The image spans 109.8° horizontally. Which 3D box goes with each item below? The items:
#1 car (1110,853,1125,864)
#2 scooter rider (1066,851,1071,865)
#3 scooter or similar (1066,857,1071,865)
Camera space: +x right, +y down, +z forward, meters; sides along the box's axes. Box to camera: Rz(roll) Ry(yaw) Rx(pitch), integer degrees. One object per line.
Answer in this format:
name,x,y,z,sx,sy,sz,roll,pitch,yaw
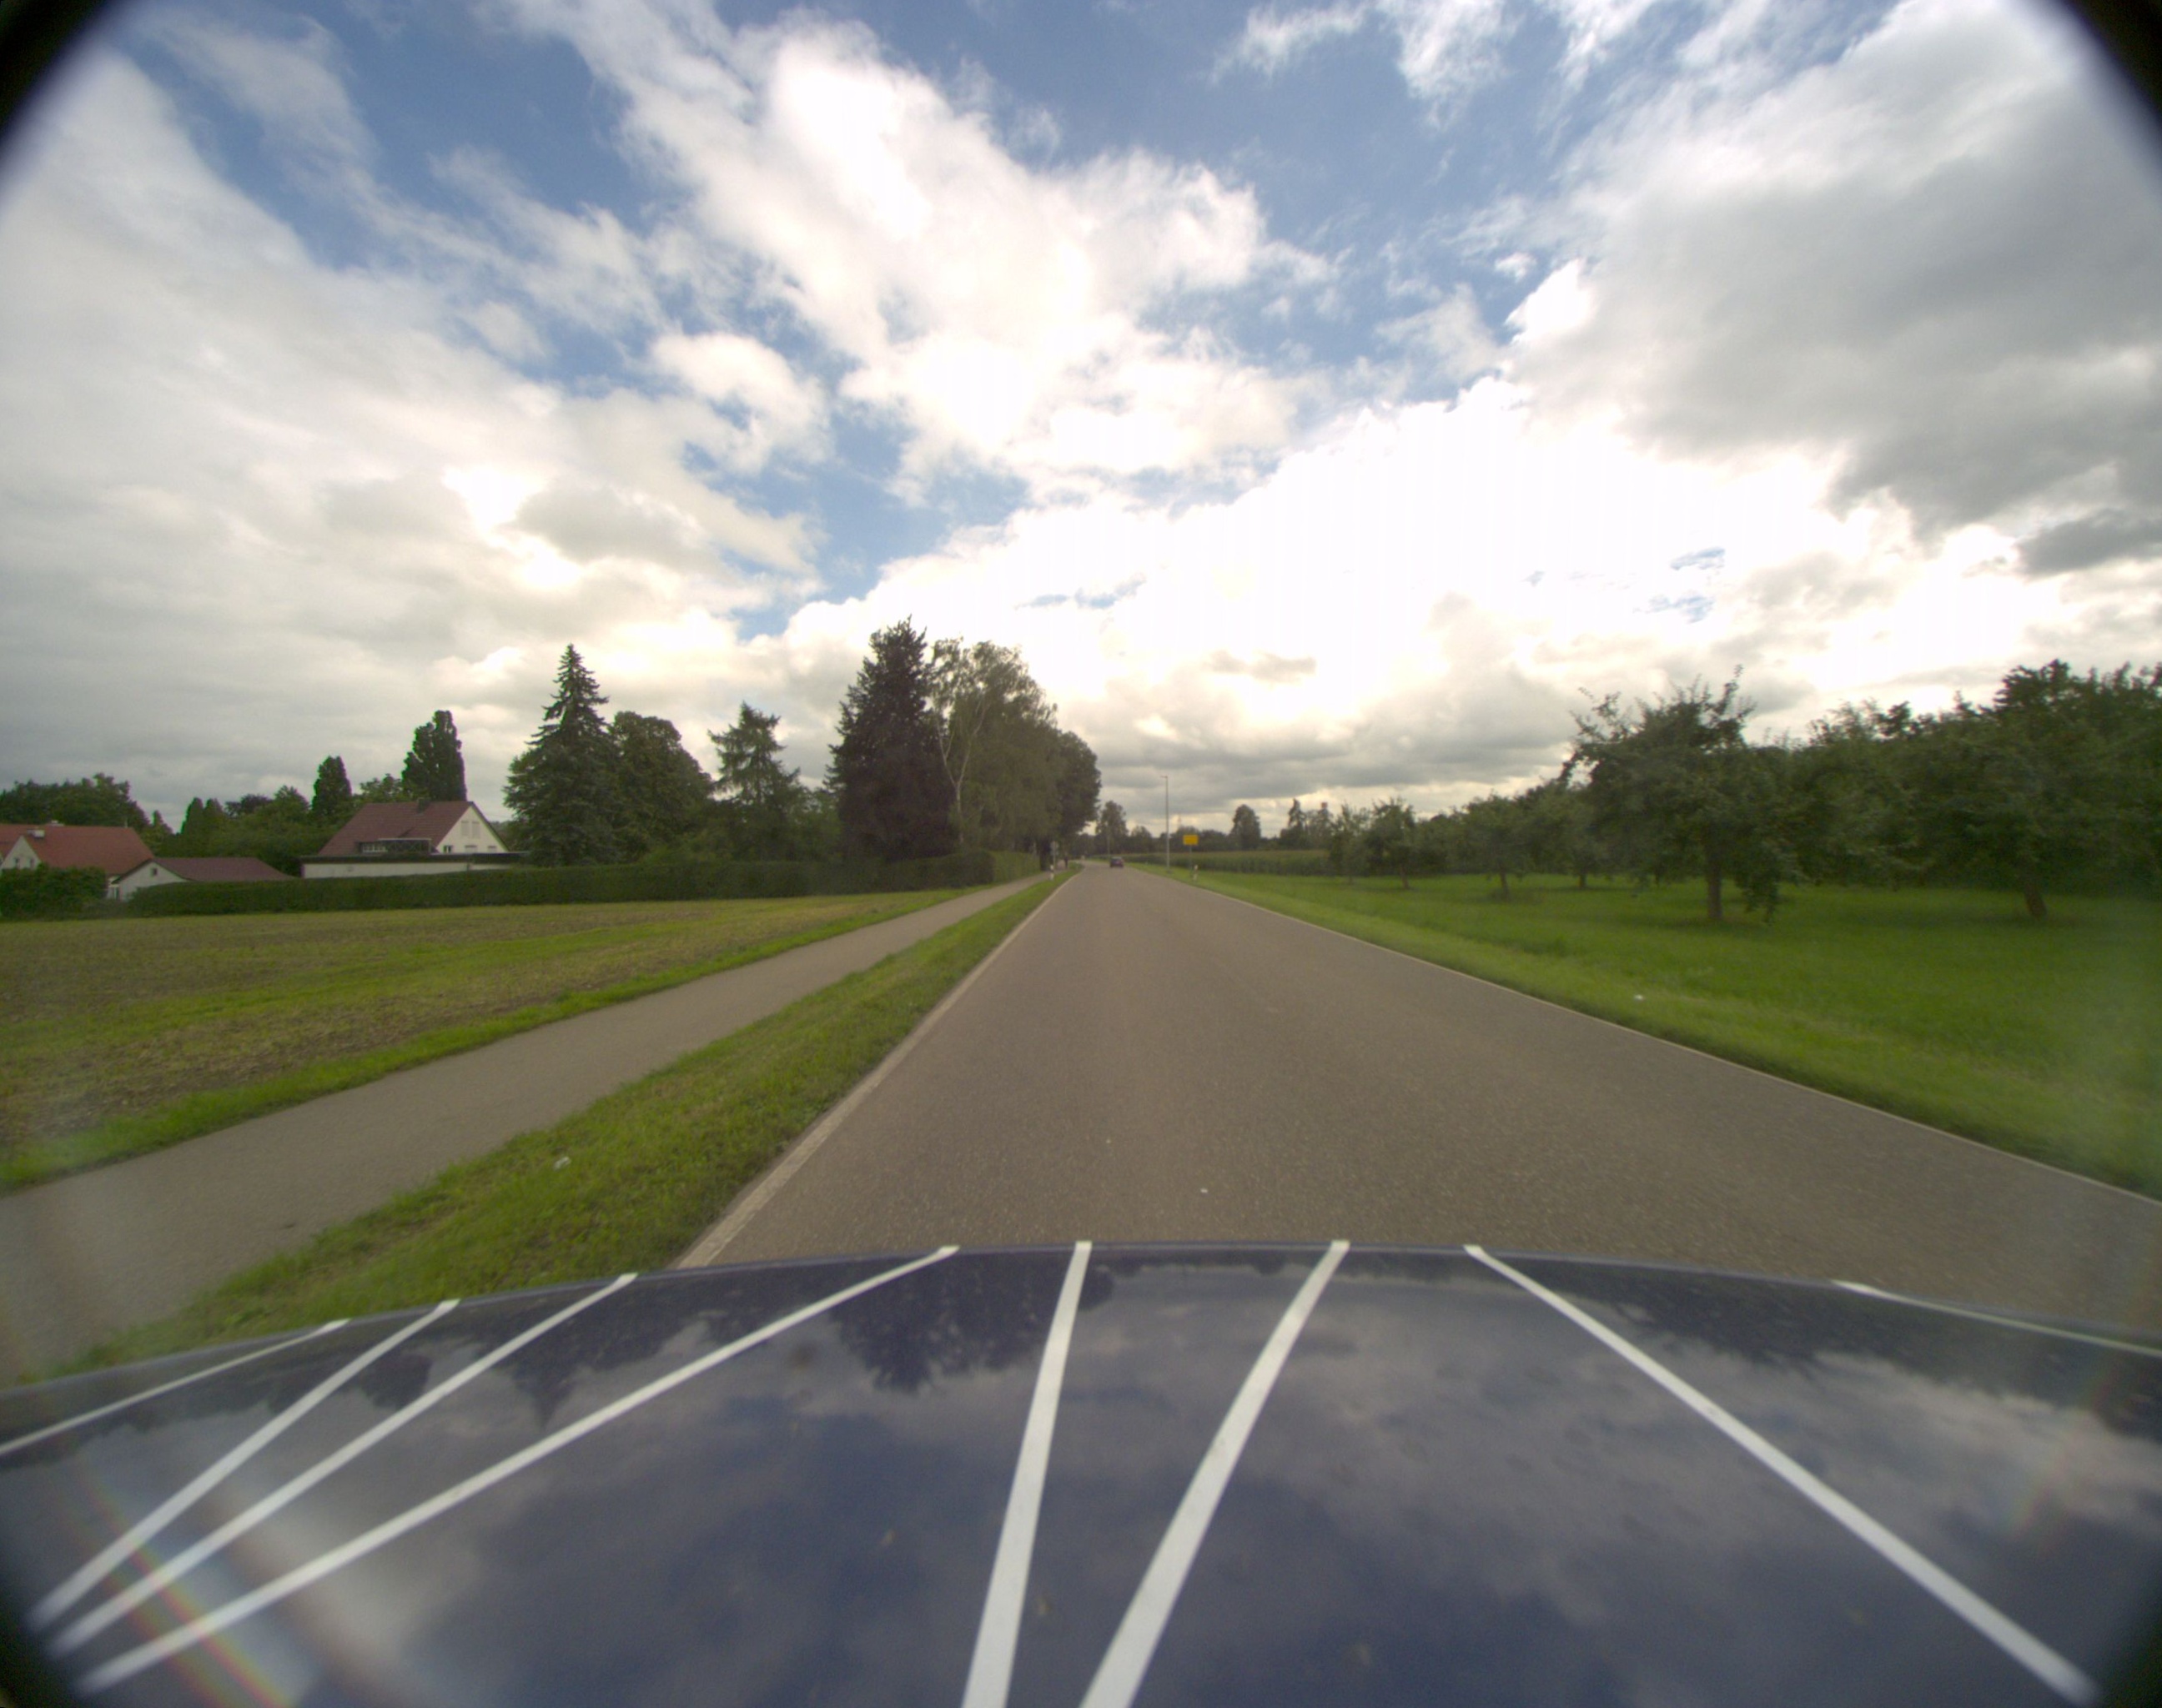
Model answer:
car,5.038,0.614,104.994,1.868,1.543,4.182,1,0,1
scooter rider,-1.899,0.560,111.355,0.643,1.954,0.786,-2,1,1
scooter or similar,-1.881,0.990,111.281,0.650,1.157,1.695,-2,0,1
